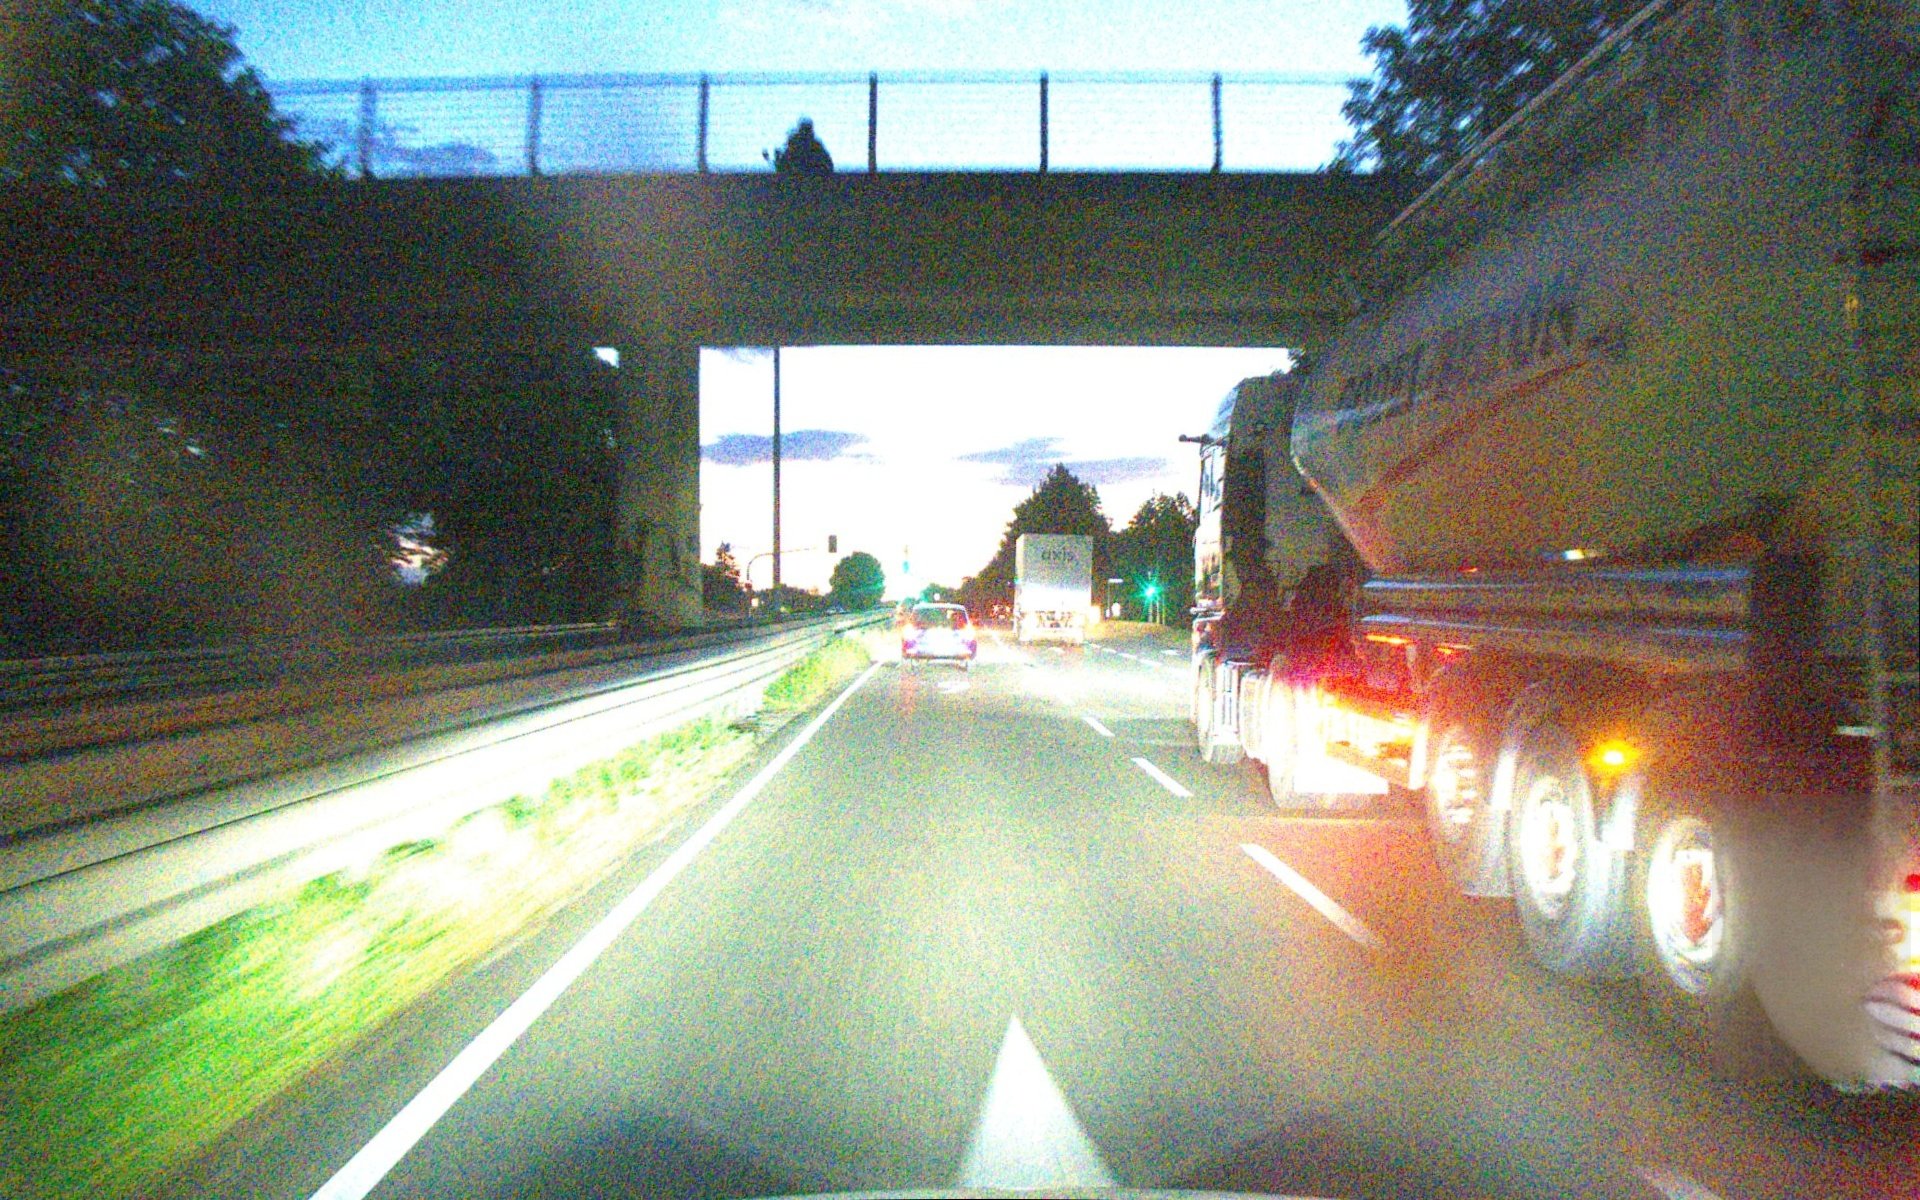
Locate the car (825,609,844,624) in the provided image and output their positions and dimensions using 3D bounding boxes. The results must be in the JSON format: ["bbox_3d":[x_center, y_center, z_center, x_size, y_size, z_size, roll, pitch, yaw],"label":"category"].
[{"bbox_3d":[-12.021,1.592,158.371,1.573,1.353,3.938,-2,0,-1],"label":"car"}]

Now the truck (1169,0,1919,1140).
[{"bbox_3d":[3.697,-0.526,11.238,2.633,4.178,13.138,1,0,-1],"label":"truck"}]

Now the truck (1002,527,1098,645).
[{"bbox_3d":[3.409,-0.468,65.775,2.824,4.178,12.680,1,0,-1],"label":"truck"}]

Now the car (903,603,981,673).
[{"bbox_3d":[-0.422,0.837,37.585,1.661,1.478,3.913,1,0,-1],"label":"car"}]

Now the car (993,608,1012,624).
[{"bbox_3d":[4.274,1.593,166.398,1.661,1.478,3.913,1,0,-1],"label":"car"}]
